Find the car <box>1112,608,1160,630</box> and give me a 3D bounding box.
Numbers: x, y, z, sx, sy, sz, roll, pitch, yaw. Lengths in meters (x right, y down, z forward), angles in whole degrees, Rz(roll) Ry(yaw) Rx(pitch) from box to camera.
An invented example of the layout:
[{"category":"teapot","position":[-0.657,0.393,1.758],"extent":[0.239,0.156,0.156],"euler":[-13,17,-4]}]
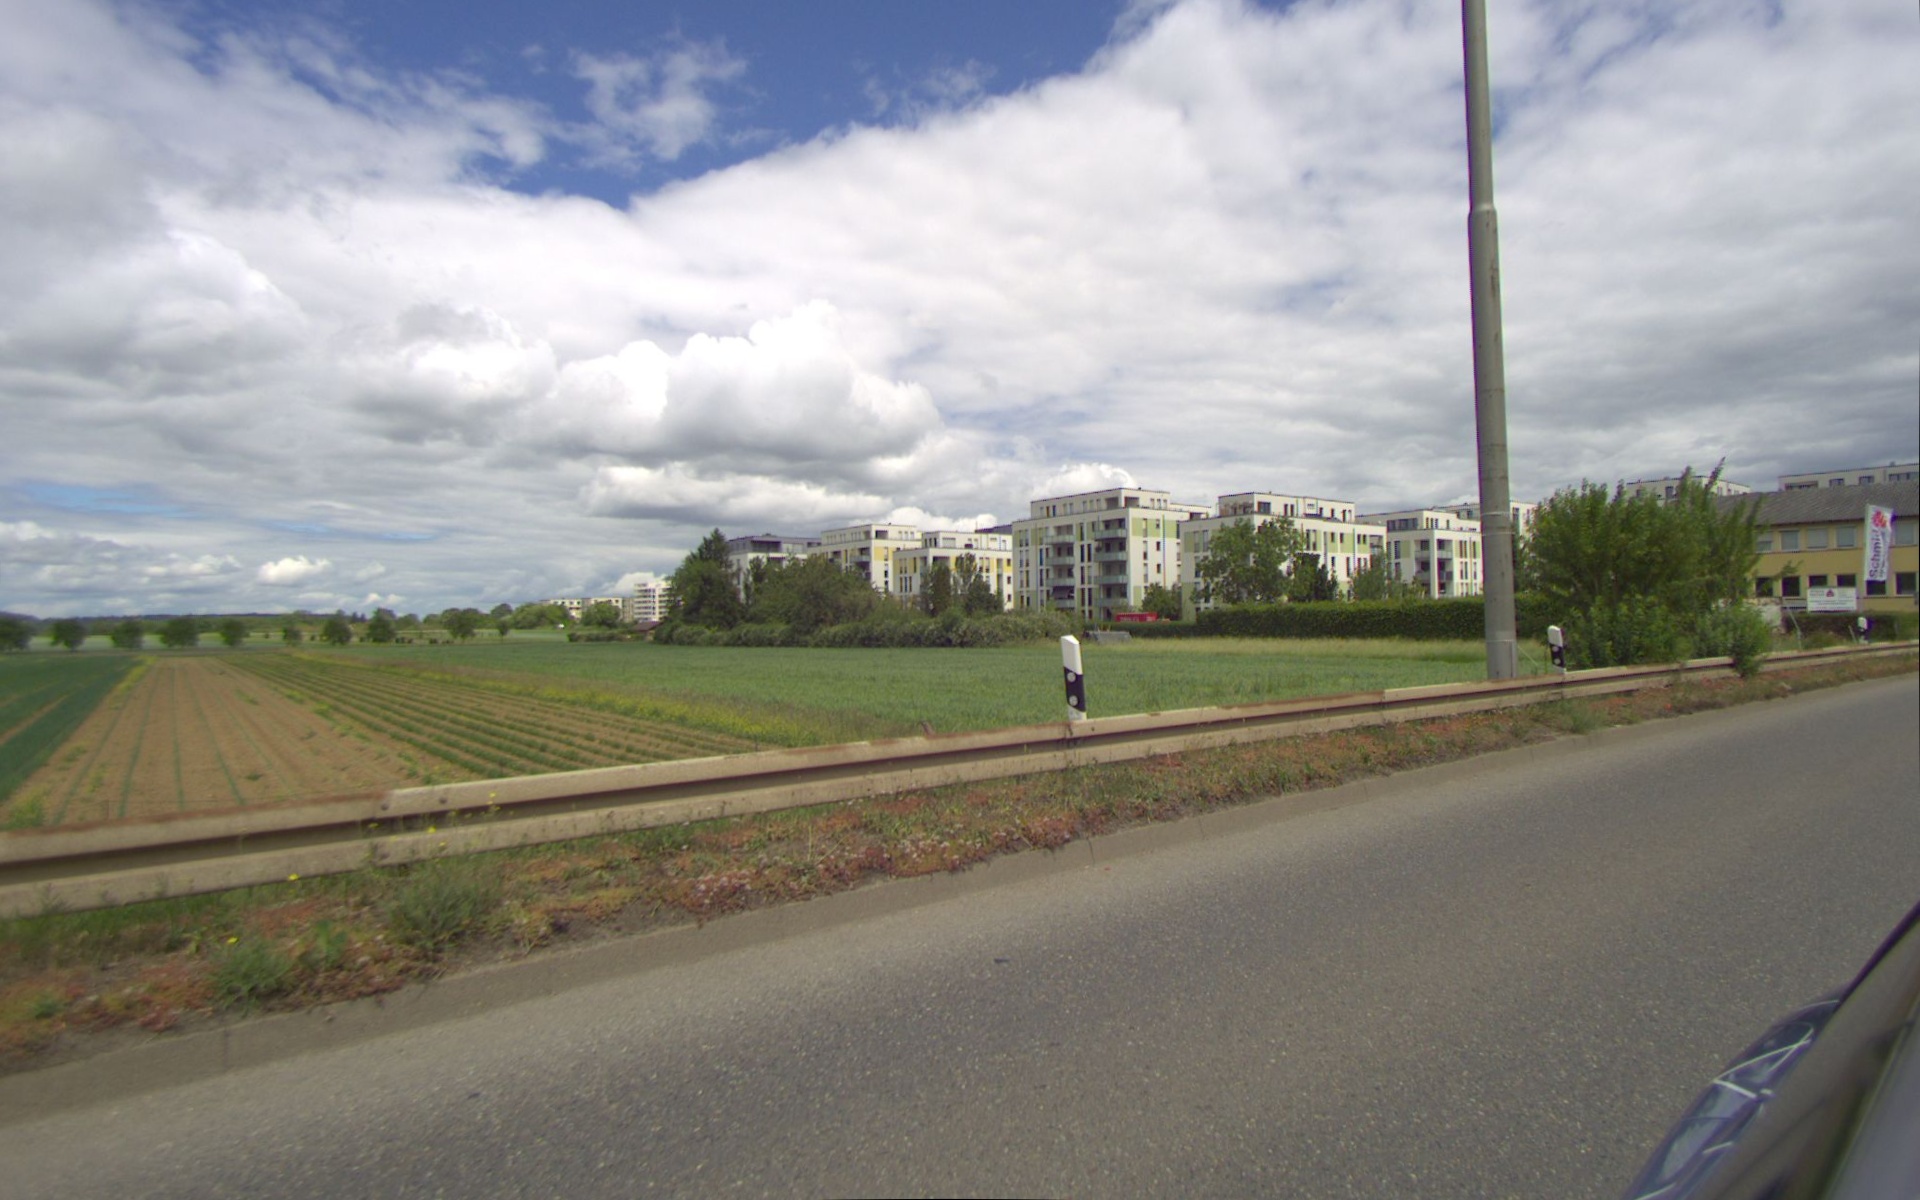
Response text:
[{"category":"car","position":[17.669,1.903,101.621],"extent":[1.966,2.039,4.432],"euler":[-1,0,-41]}]
